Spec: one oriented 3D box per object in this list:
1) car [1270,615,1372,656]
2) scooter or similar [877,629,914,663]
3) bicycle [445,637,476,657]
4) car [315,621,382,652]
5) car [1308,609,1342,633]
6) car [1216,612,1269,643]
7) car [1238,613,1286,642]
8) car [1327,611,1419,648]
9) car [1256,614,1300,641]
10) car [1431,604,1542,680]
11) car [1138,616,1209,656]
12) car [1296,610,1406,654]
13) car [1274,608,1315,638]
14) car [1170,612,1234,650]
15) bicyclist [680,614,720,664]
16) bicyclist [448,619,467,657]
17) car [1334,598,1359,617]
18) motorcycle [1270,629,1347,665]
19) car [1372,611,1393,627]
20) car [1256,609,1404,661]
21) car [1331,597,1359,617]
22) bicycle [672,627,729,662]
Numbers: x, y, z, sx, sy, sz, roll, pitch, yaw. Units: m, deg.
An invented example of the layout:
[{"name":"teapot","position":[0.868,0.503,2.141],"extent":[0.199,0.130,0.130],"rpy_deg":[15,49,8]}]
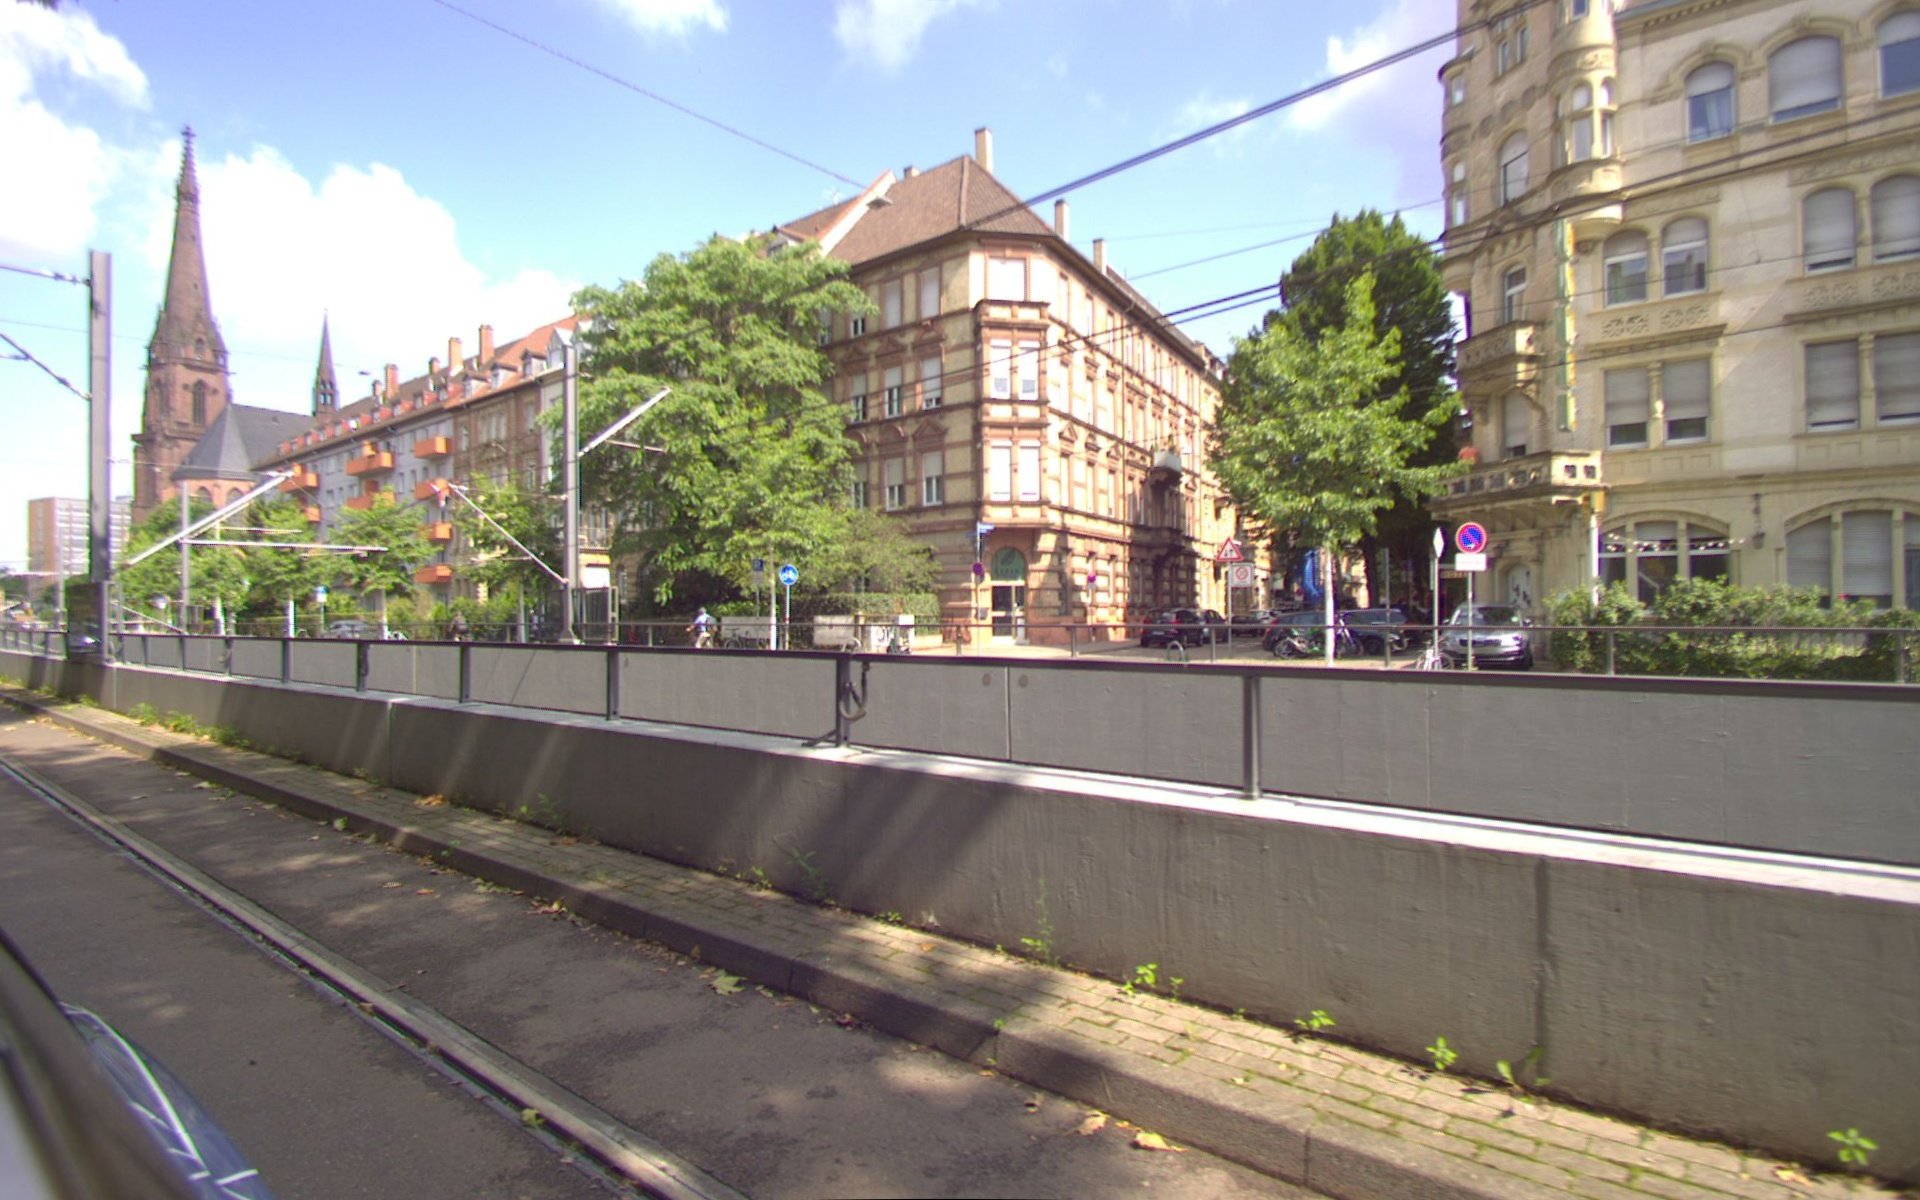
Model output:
[{"name":"car","position":[13.874,1.351,38.930],"extent":[3.500,1.497,1.667],"rpy_deg":[-1,-1,29]},{"name":"scooter or similar","position":[-2.147,1.531,33.582],"extent":[1.287,1.090,0.373],"rpy_deg":[-2,1,41]},{"name":"bicycle","position":[-20.798,1.956,42.111],"extent":[1.815,0.774,0.491],"rpy_deg":[-1,-2,40]},{"name":"car","position":[-33.663,1.997,55.712],"extent":[4.111,1.650,1.973],"rpy_deg":[-2,-2,40]},{"name":"car","position":[28.572,1.651,79.174],"extent":[1.919,1.846,3.962],"rpy_deg":[-1,-1,28]},{"name":"car","position":[15.463,1.493,55.292],"extent":[1.920,1.630,3.960],"rpy_deg":[-1,-1,29]},{"name":"car","position":[17.868,1.615,59.779],"extent":[1.920,1.630,3.960],"rpy_deg":[-1,-1,29]},{"name":"car","position":[19.712,1.405,48.310],"extent":[3.770,1.714,1.663],"rpy_deg":[-1,-1,37]},{"name":"car","position":[20.069,1.696,63.777],"extent":[1.920,1.630,3.960],"rpy_deg":[-1,-1,29]},{"name":"car","position":[12.420,0.922,23.759],"extent":[2.030,1.618,3.920],"rpy_deg":[-1,-1,32]},{"name":"car","position":[8.896,1.443,42.013],"extent":[1.916,1.547,3.963],"rpy_deg":[0,-1,27]},{"name":"car","position":[13.890,1.128,35.948],"extent":[3.497,1.503,1.669],"rpy_deg":[-1,-1,26]},{"name":"car","position":[22.786,1.576,68.877],"extent":[1.920,1.956,3.960],"rpy_deg":[-1,-1,29]},{"name":"car","position":[11.326,1.429,47.236],"extent":[1.920,1.687,3.960],"rpy_deg":[-1,-1,29]},{"name":"bicyclist","position":[-7.876,1.180,30.649],"extent":[0.977,1.490,0.731],"rpy_deg":[-2,-3,40]},{"name":"bicyclist","position":[-20.822,1.559,41.929],"extent":[0.607,1.556,0.498],"rpy_deg":[-1,-2,40]},{"name":"car","position":[41.744,0.835,109.157],"extent":[1.920,1.956,3.959],"rpy_deg":[-1,-1,30]},{"name":"motorcycle","position":[9.951,1.341,28.924],"extent":[1.991,1.002,0.518],"rpy_deg":[-1,-1,29]},{"name":"car","position":[51.624,2.290,123.530],"extent":[1.920,1.956,3.959],"rpy_deg":[-1,-1,30]},{"name":"car","position":[11.446,1.064,31.368],"extent":[4.119,1.532,1.667],"rpy_deg":[-1,-1,28]},{"name":"car","position":[38.362,0.716,100.790],"extent":[1.920,1.956,3.959],"rpy_deg":[-1,-1,30]},{"name":"bicycle","position":[-7.879,1.339,30.690],"extent":[1.897,1.003,0.718],"rpy_deg":[-2,-3,40]}]
